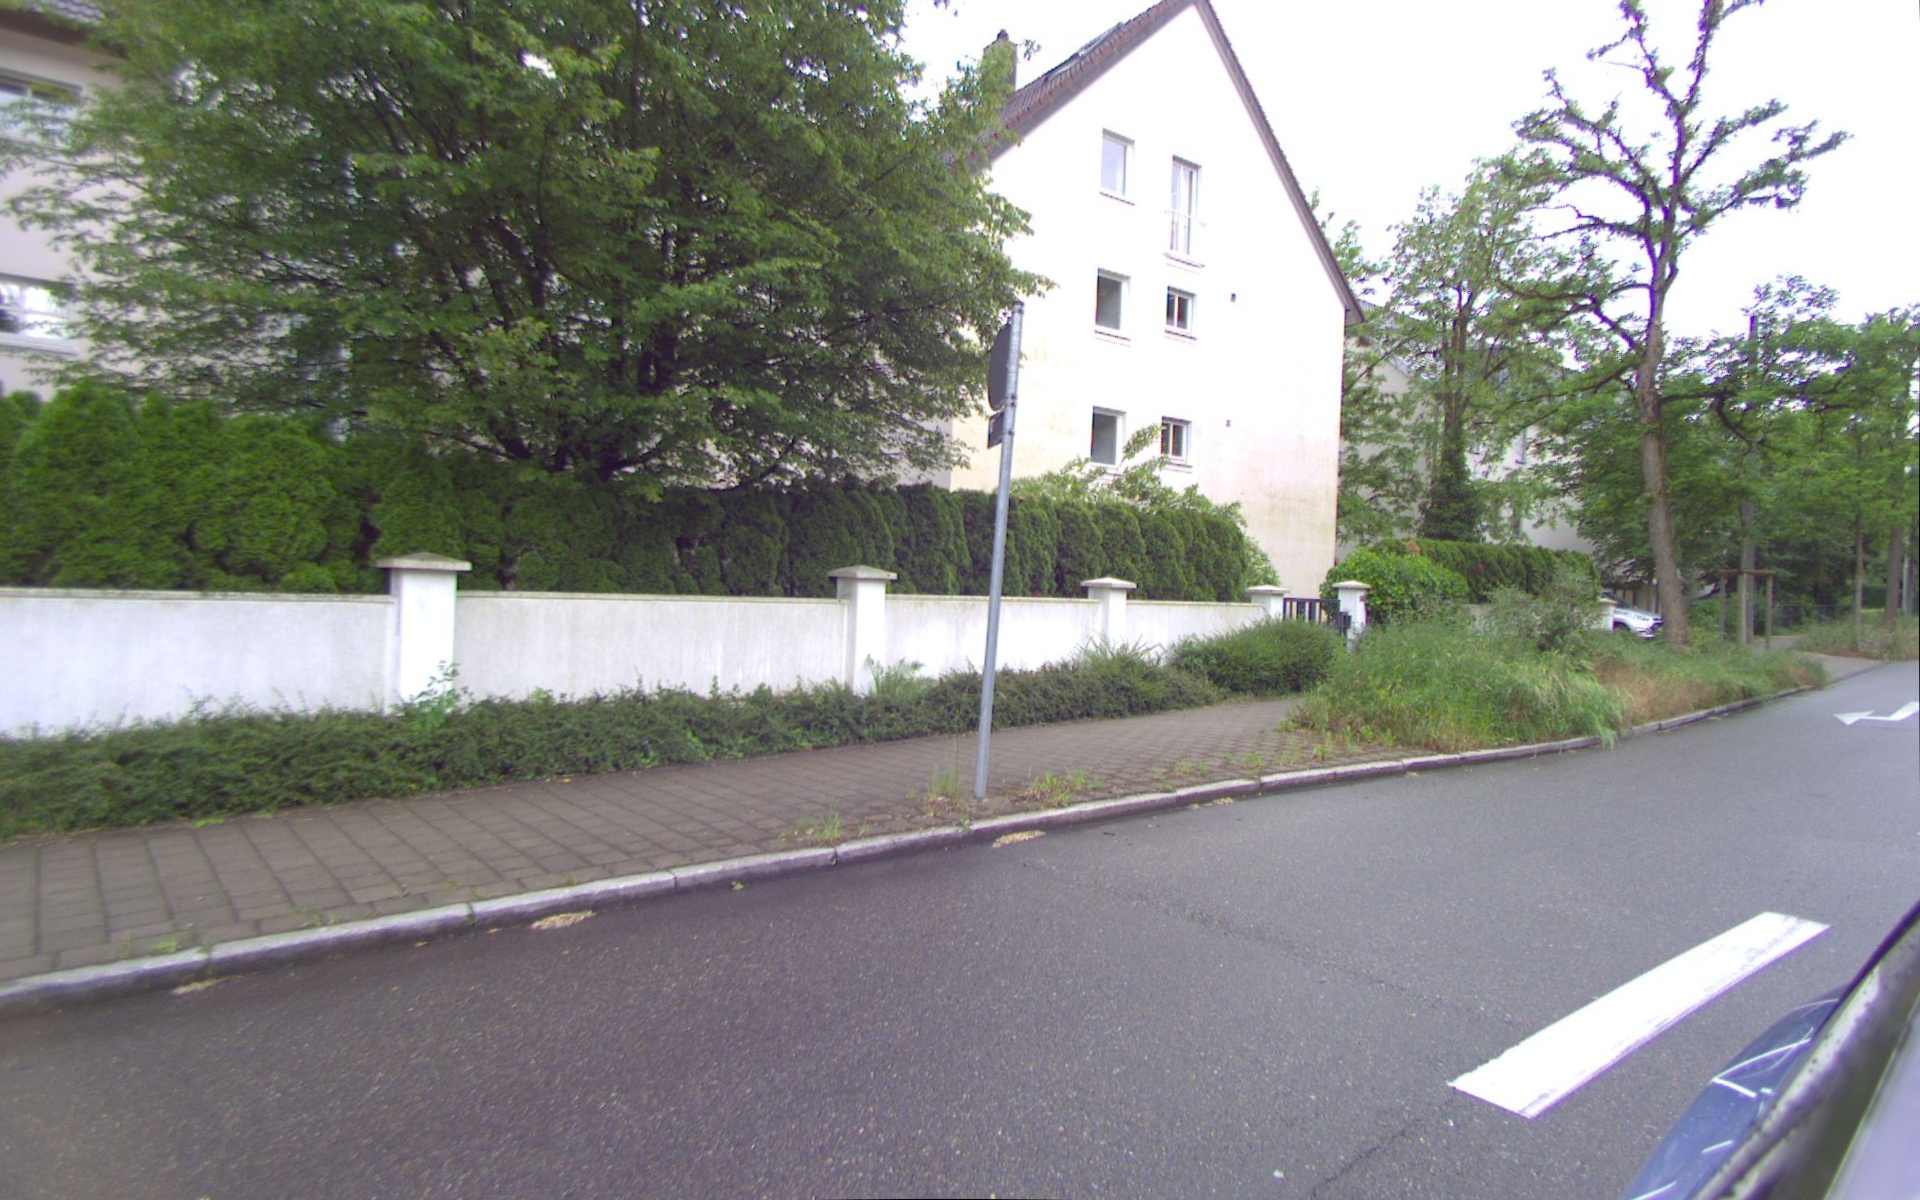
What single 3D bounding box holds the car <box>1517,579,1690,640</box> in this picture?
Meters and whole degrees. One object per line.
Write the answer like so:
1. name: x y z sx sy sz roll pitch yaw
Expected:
1. car: 20.645 0.243 32.647 1.837 1.840 4.322 1 1 -31
